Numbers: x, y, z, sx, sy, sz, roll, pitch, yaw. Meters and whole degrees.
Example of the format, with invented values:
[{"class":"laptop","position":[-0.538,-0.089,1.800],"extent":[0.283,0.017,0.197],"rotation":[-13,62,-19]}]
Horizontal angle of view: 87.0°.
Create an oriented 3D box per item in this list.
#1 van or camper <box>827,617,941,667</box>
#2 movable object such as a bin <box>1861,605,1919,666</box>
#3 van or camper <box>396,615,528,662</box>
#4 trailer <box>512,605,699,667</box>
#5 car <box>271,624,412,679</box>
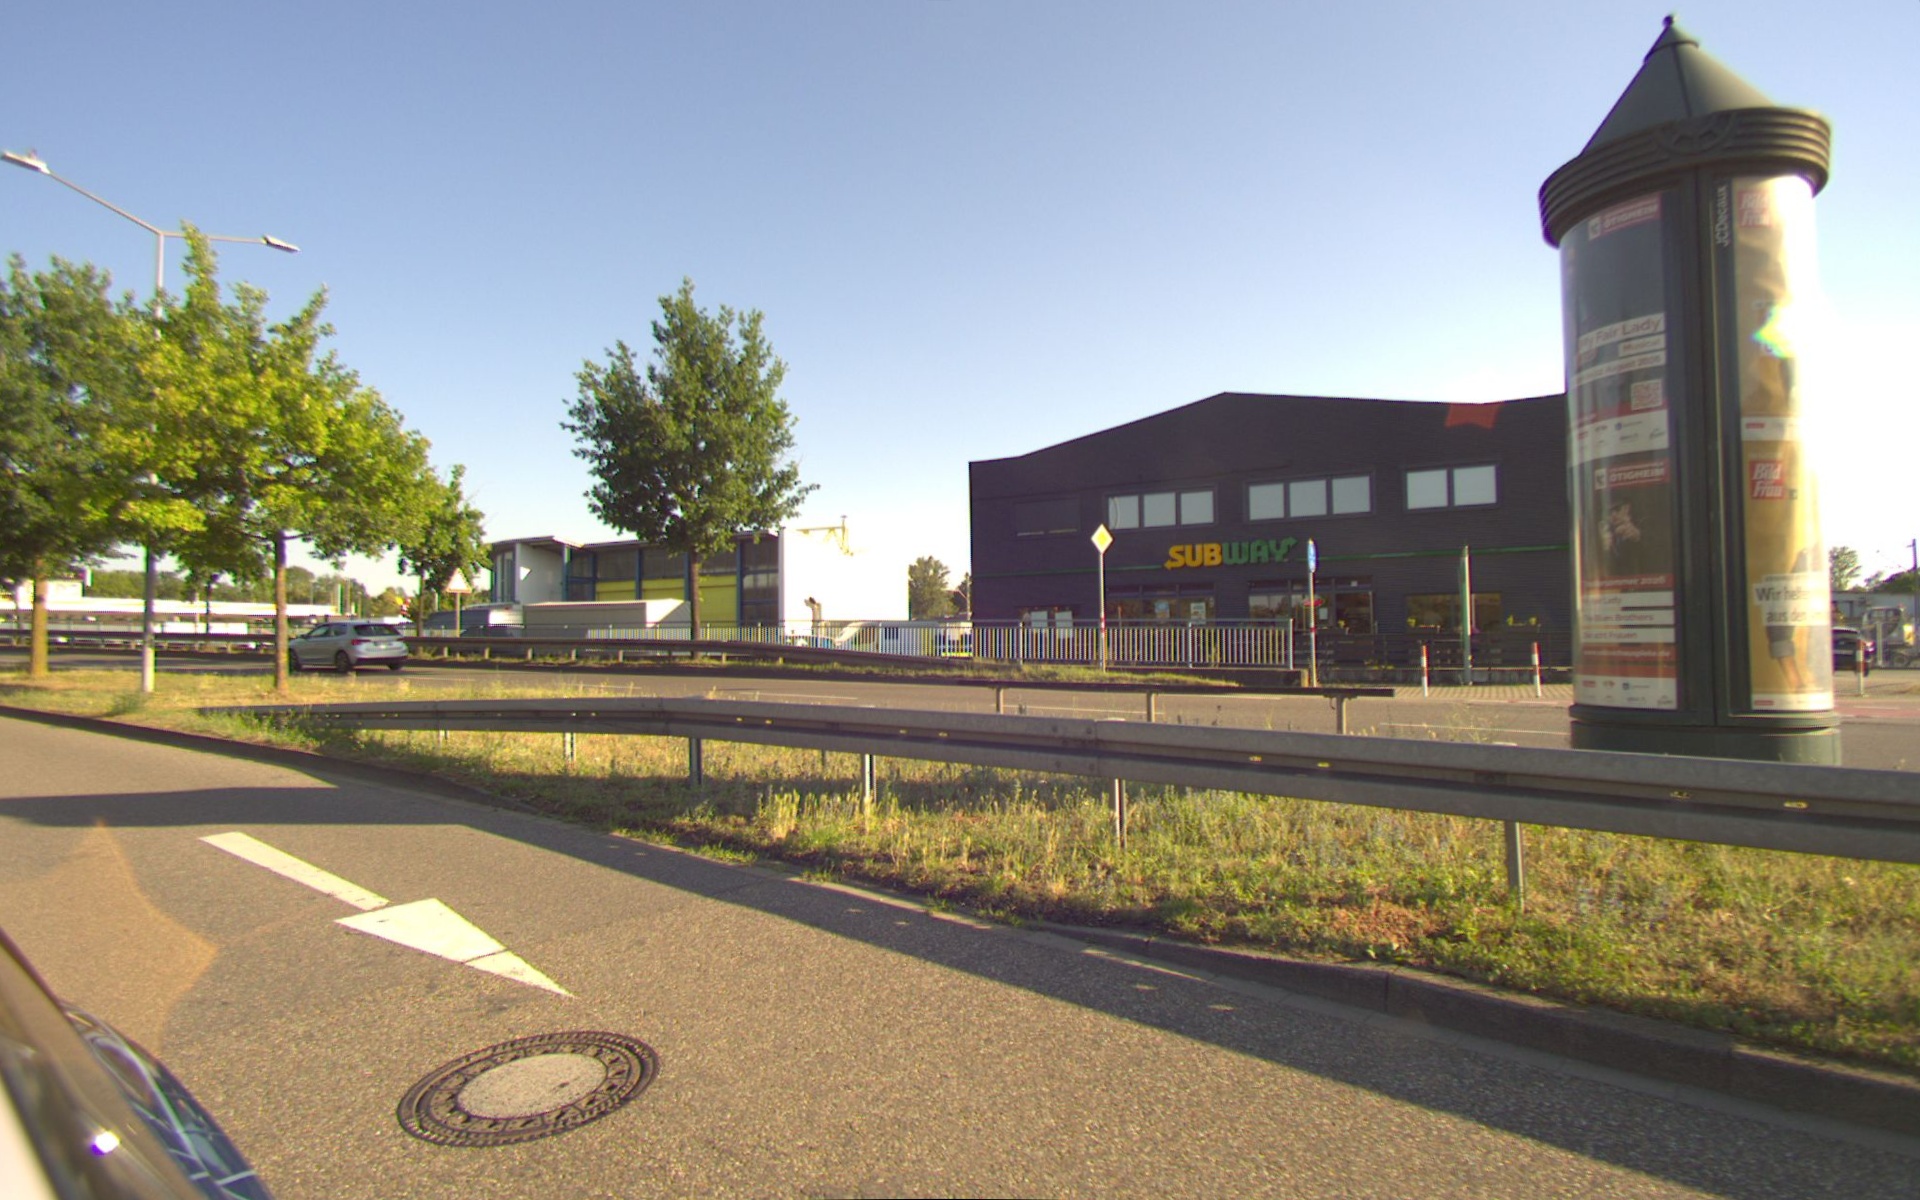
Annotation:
[{"class":"van or camper","position":[-3.076,1.691,41.053],"extent":[4.156,1.940,2.006],"rotation":[2,-2,-28]},{"class":"movable object such as a bin","position":[43.237,1.617,46.673],"extent":[2.215,2.736,1.719],"rotation":[-1,-2,35]},{"class":"van or camper","position":[-19.020,1.452,38.650],"extent":[4.936,1.698,1.982],"rotation":[-1,-2,27]},{"class":"trailer","position":[-12.425,1.228,35.350],"extent":[6.575,1.985,2.404],"rotation":[-1,-2,28]},{"class":"car","position":[-18.003,1.457,29.440],"extent":[4.087,1.474,1.662],"rotation":[-1,-2,28]}]
